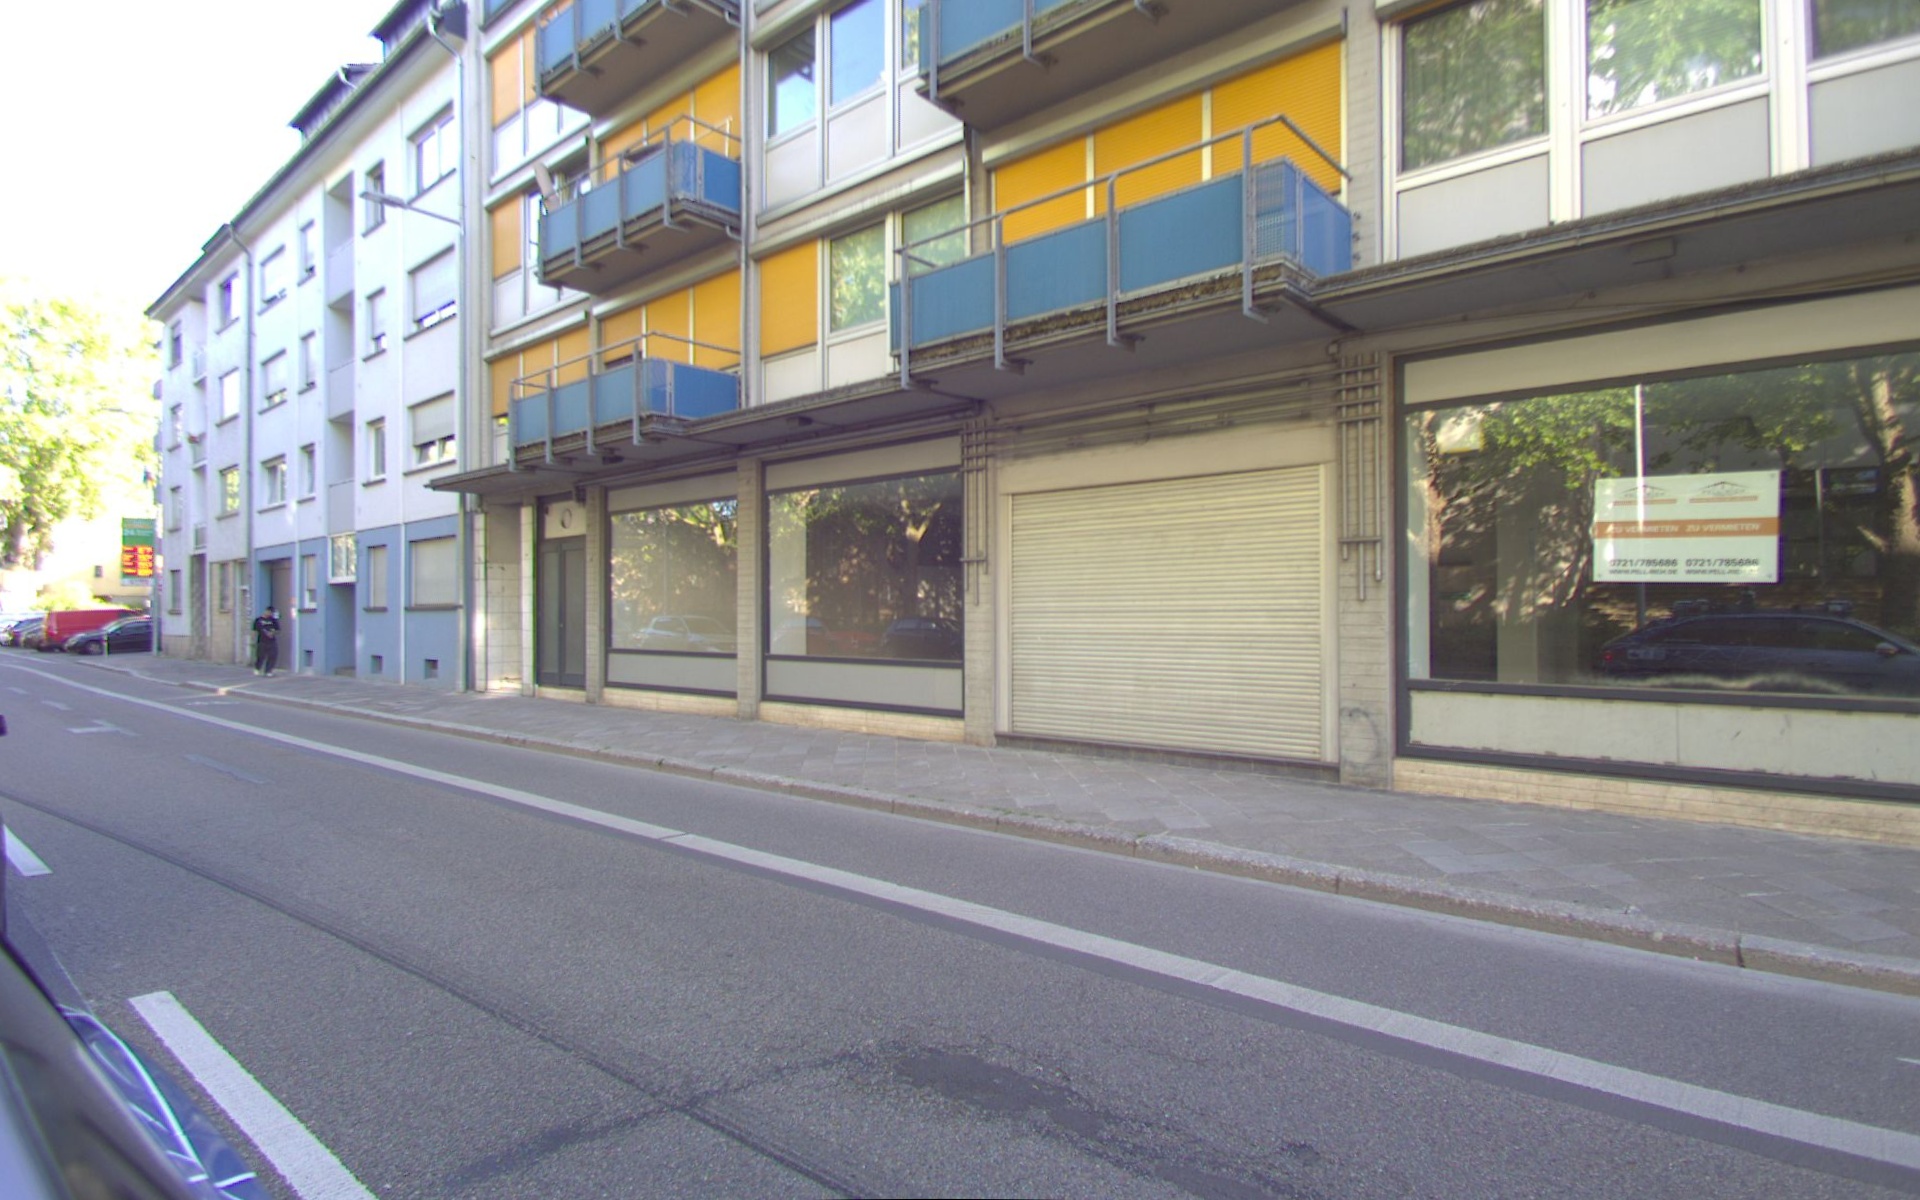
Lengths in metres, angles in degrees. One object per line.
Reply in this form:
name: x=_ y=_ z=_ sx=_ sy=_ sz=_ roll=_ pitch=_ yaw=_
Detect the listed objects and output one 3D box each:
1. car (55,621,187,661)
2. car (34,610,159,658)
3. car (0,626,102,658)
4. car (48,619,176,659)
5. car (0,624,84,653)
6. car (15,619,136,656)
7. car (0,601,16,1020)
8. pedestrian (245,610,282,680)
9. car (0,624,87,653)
car: x=-36.507 y=1.738 z=44.105 sx=1.652 sy=1.411 sz=4.201 roll=-1 pitch=1 yaw=41
car: x=-40.582 y=1.553 z=47.630 sx=1.817 sy=1.933 sz=4.202 roll=-1 pitch=1 yaw=40
car: x=-50.478 y=2.287 z=56.116 sx=1.652 sy=1.480 sz=4.201 roll=-1 pitch=1 yaw=41
car: x=-38.200 y=1.725 z=45.668 sx=1.652 sy=1.480 sz=4.201 roll=-1 pitch=1 yaw=41
car: x=-55.892 y=2.293 z=61.208 sx=1.652 sy=1.480 sz=4.201 roll=-1 pitch=1 yaw=41
car: x=-42.770 y=1.785 z=49.025 sx=1.652 sy=1.480 sz=4.201 roll=-1 pitch=1 yaw=41
car: x=-5.655 y=0.793 z=4.417 sx=4.300 sy=1.510 sz=1.826 roll=-1 pitch=-1 yaw=41
pedestrian: x=-17.248 y=1.102 z=25.063 sx=0.655 sy=1.708 sz=0.604 roll=-2 pitch=-1 yaw=41
car: x=-54.510 y=2.273 z=59.800 sx=1.652 sy=1.480 sz=4.201 roll=-1 pitch=1 yaw=41
